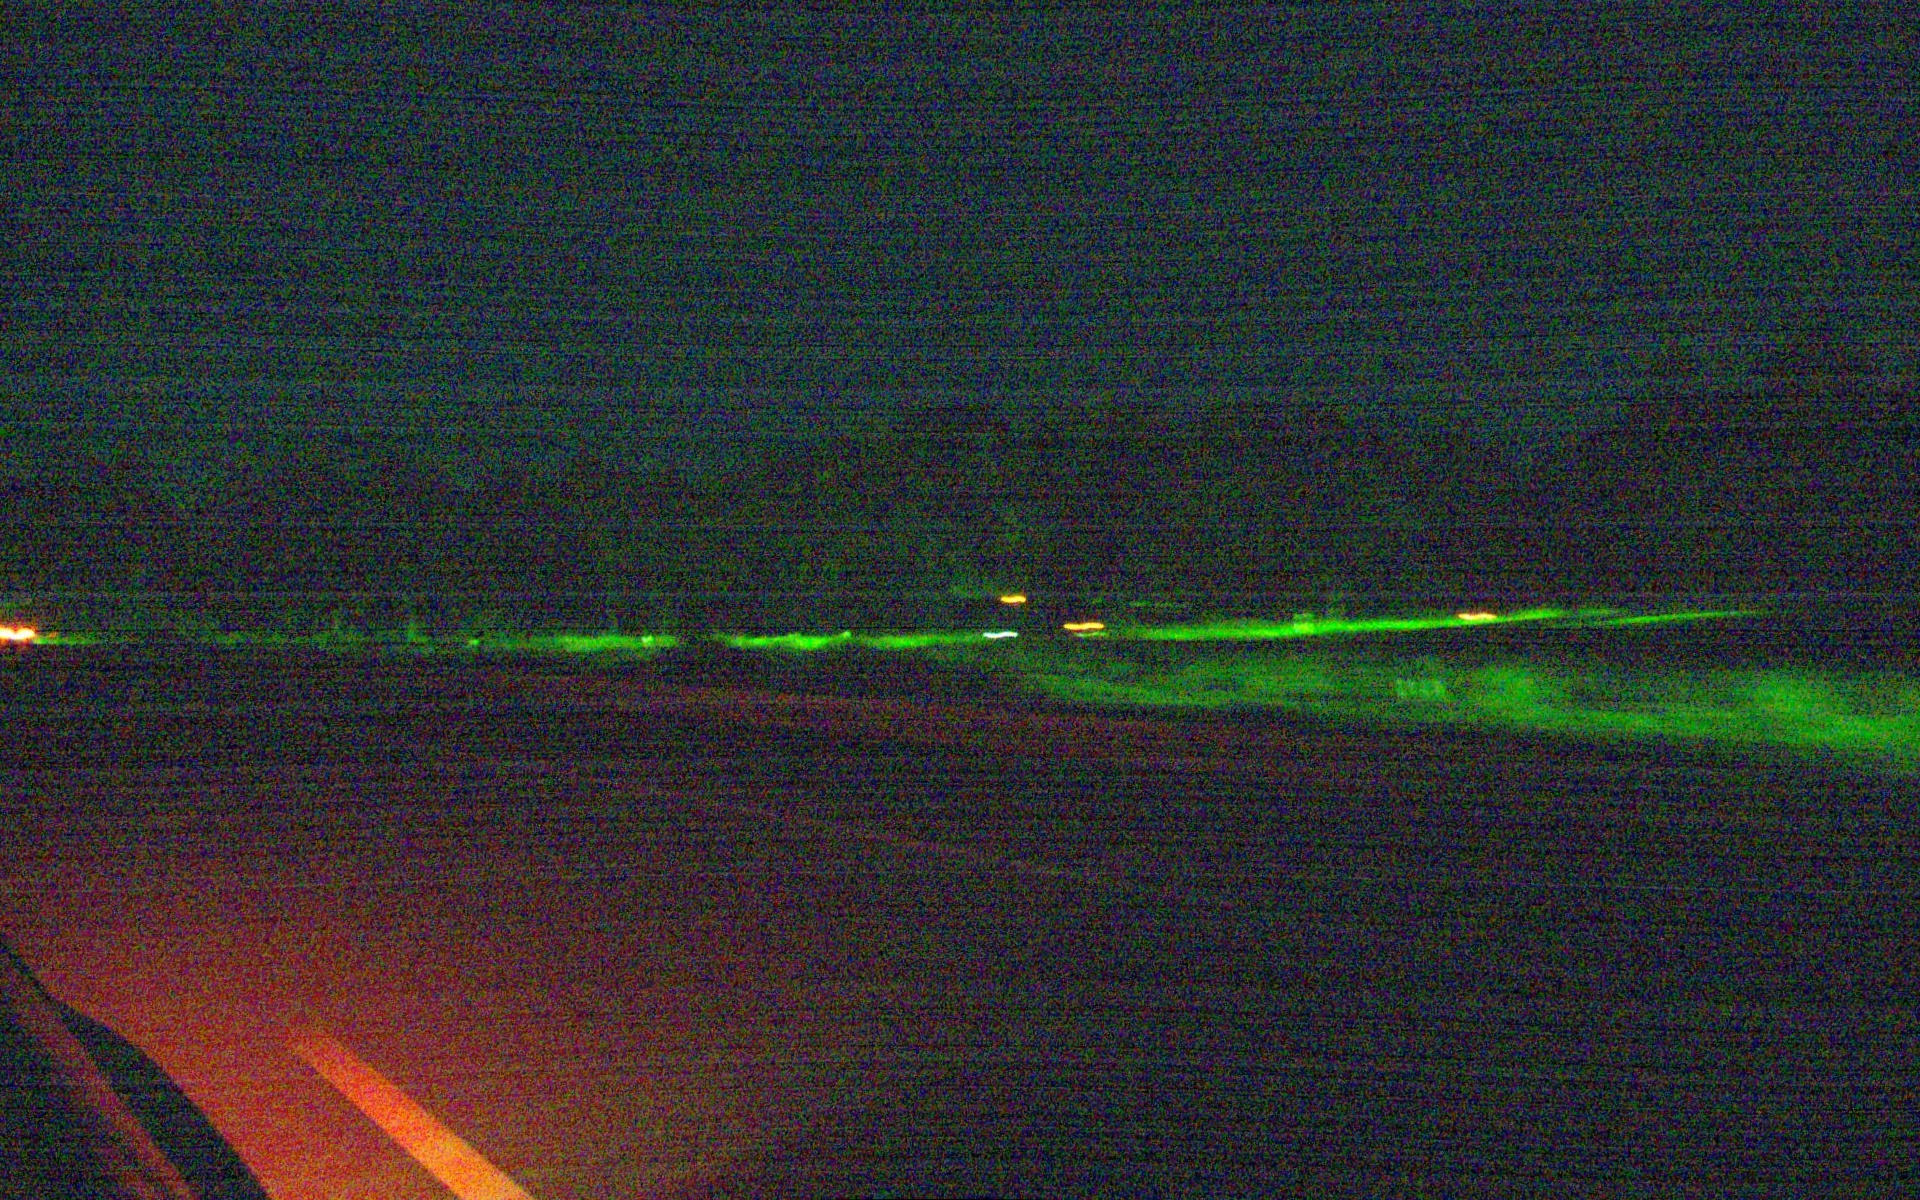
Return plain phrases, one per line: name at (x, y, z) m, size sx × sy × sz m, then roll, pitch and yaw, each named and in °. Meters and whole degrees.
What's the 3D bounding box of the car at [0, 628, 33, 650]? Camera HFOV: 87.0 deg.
car at (-70.154, 2.873, 74.648) m, size 4.289 × 1.569 × 1.974 m, roll -1°, pitch -2°, yaw 39°
